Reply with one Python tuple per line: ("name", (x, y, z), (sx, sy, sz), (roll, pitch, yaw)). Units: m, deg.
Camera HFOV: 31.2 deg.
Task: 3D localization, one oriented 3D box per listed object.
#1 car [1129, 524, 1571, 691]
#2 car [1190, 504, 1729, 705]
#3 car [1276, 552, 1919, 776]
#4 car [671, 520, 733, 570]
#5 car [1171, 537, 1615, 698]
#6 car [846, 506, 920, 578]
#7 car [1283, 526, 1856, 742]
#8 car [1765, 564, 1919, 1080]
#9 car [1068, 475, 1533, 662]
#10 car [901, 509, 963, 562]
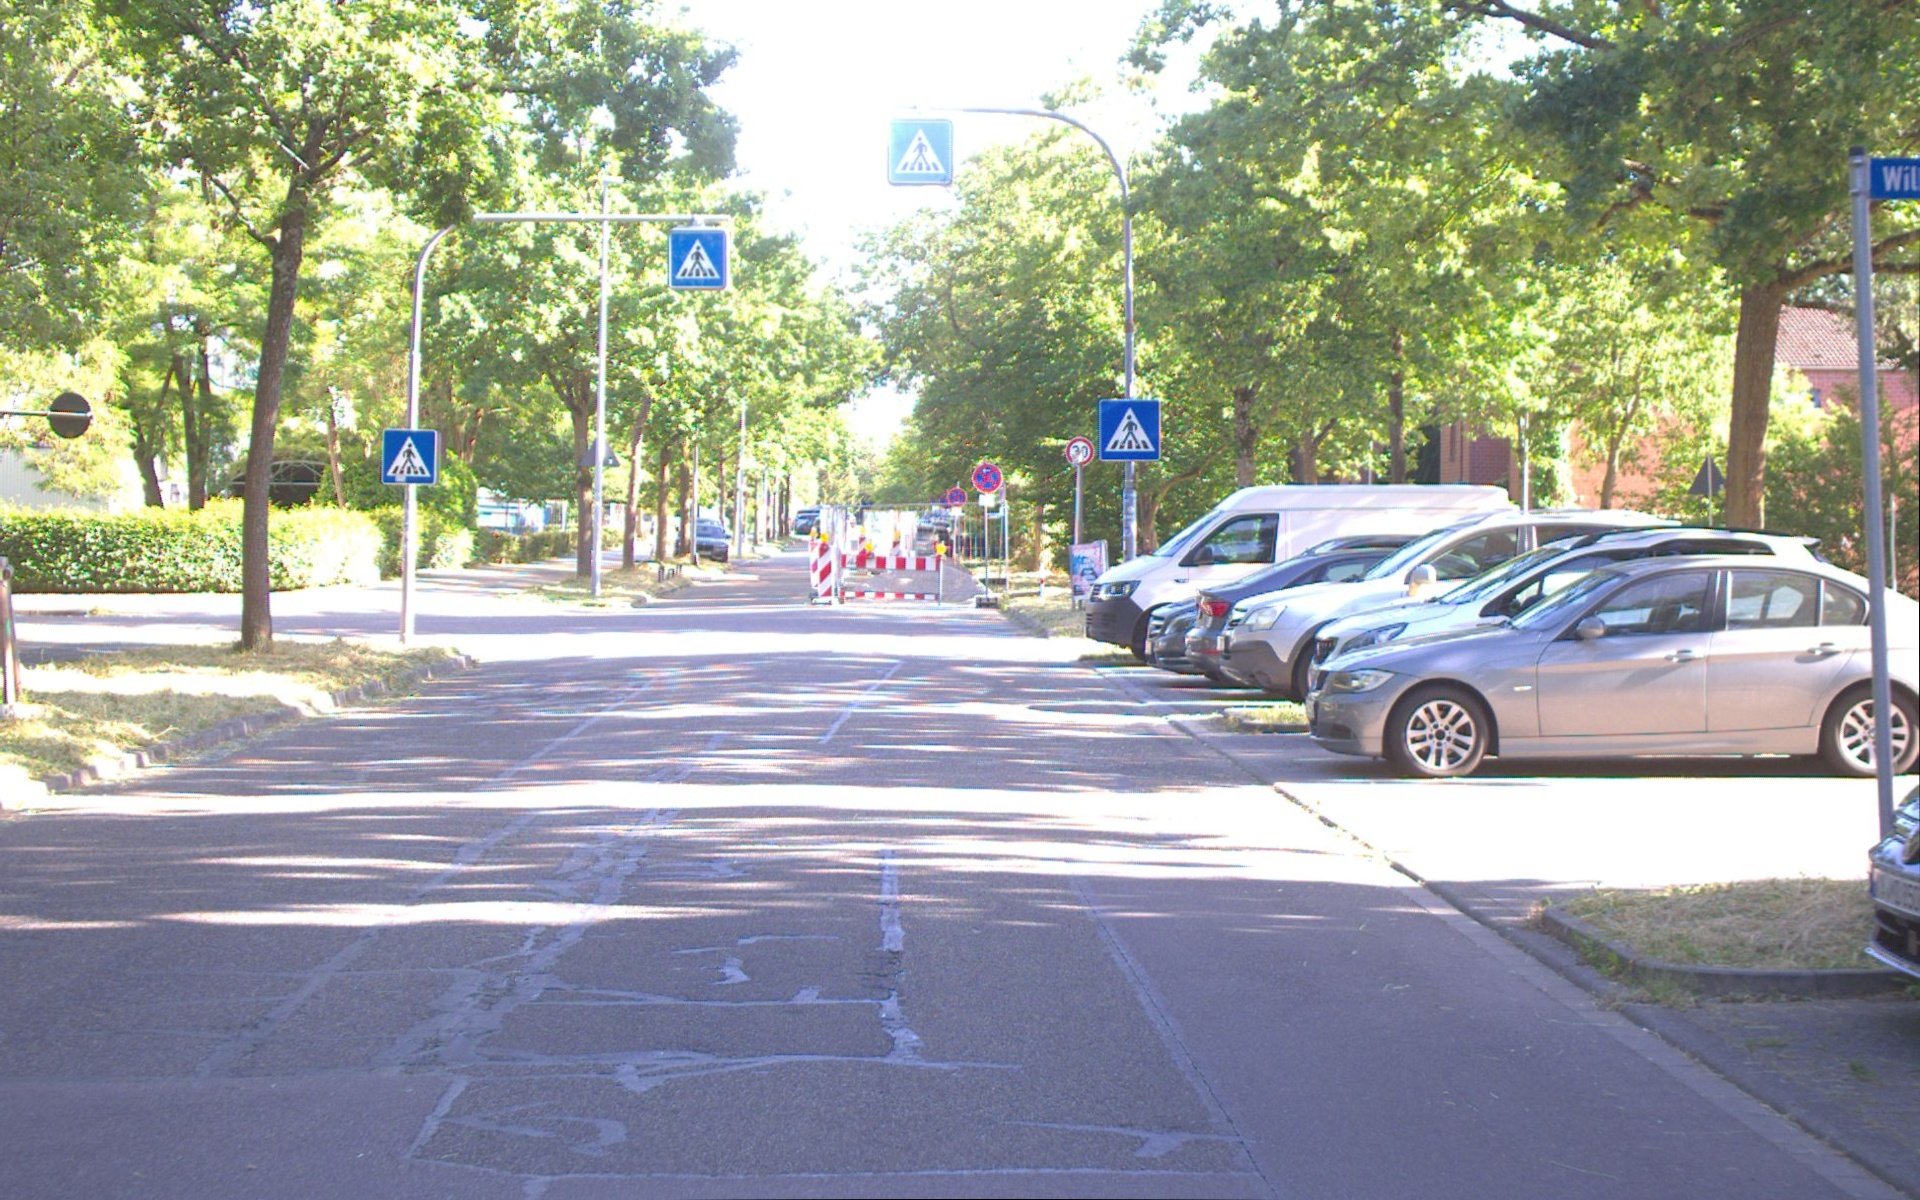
("car", (3.951, 0.057, 35.296), (4.212, 1.563, 1.934), (1, 1, -3))
("car", (4.321, 0.017, 30.173), (4.384, 1.645, 1.851), (-1, 1, -3))
("car", (4.405, 0.390, 22.571), (4.445, 1.385, 1.911), (0, 1, -1))
("car", (-9.249, -1.979, 123.299), (1.993, 1.711, 4.000), (2, 1, -2))
("car", (4.065, 0.147, 32.806), (3.987, 1.428, 1.901), (1, 1, 1))
("car", (-2.172, -1.617, 96.254), (1.993, 1.926, 4.000), (2, 1, -2))
("car", (4.451, 0.225, 25.491), (3.884, 1.492, 1.777), (-1, 1, -2))
("car", (5.047, 0.607, 10.550), (4.670, 1.450, 1.917), (-1, 1, -2))
("car", (3.943, -0.370, 40.476), (5.186, 2.098, 2.083), (0, 1, -2))
("car", (-0.982, -2.201, 117.177), (1.993, 1.711, 4.000), (2, 1, -2))
